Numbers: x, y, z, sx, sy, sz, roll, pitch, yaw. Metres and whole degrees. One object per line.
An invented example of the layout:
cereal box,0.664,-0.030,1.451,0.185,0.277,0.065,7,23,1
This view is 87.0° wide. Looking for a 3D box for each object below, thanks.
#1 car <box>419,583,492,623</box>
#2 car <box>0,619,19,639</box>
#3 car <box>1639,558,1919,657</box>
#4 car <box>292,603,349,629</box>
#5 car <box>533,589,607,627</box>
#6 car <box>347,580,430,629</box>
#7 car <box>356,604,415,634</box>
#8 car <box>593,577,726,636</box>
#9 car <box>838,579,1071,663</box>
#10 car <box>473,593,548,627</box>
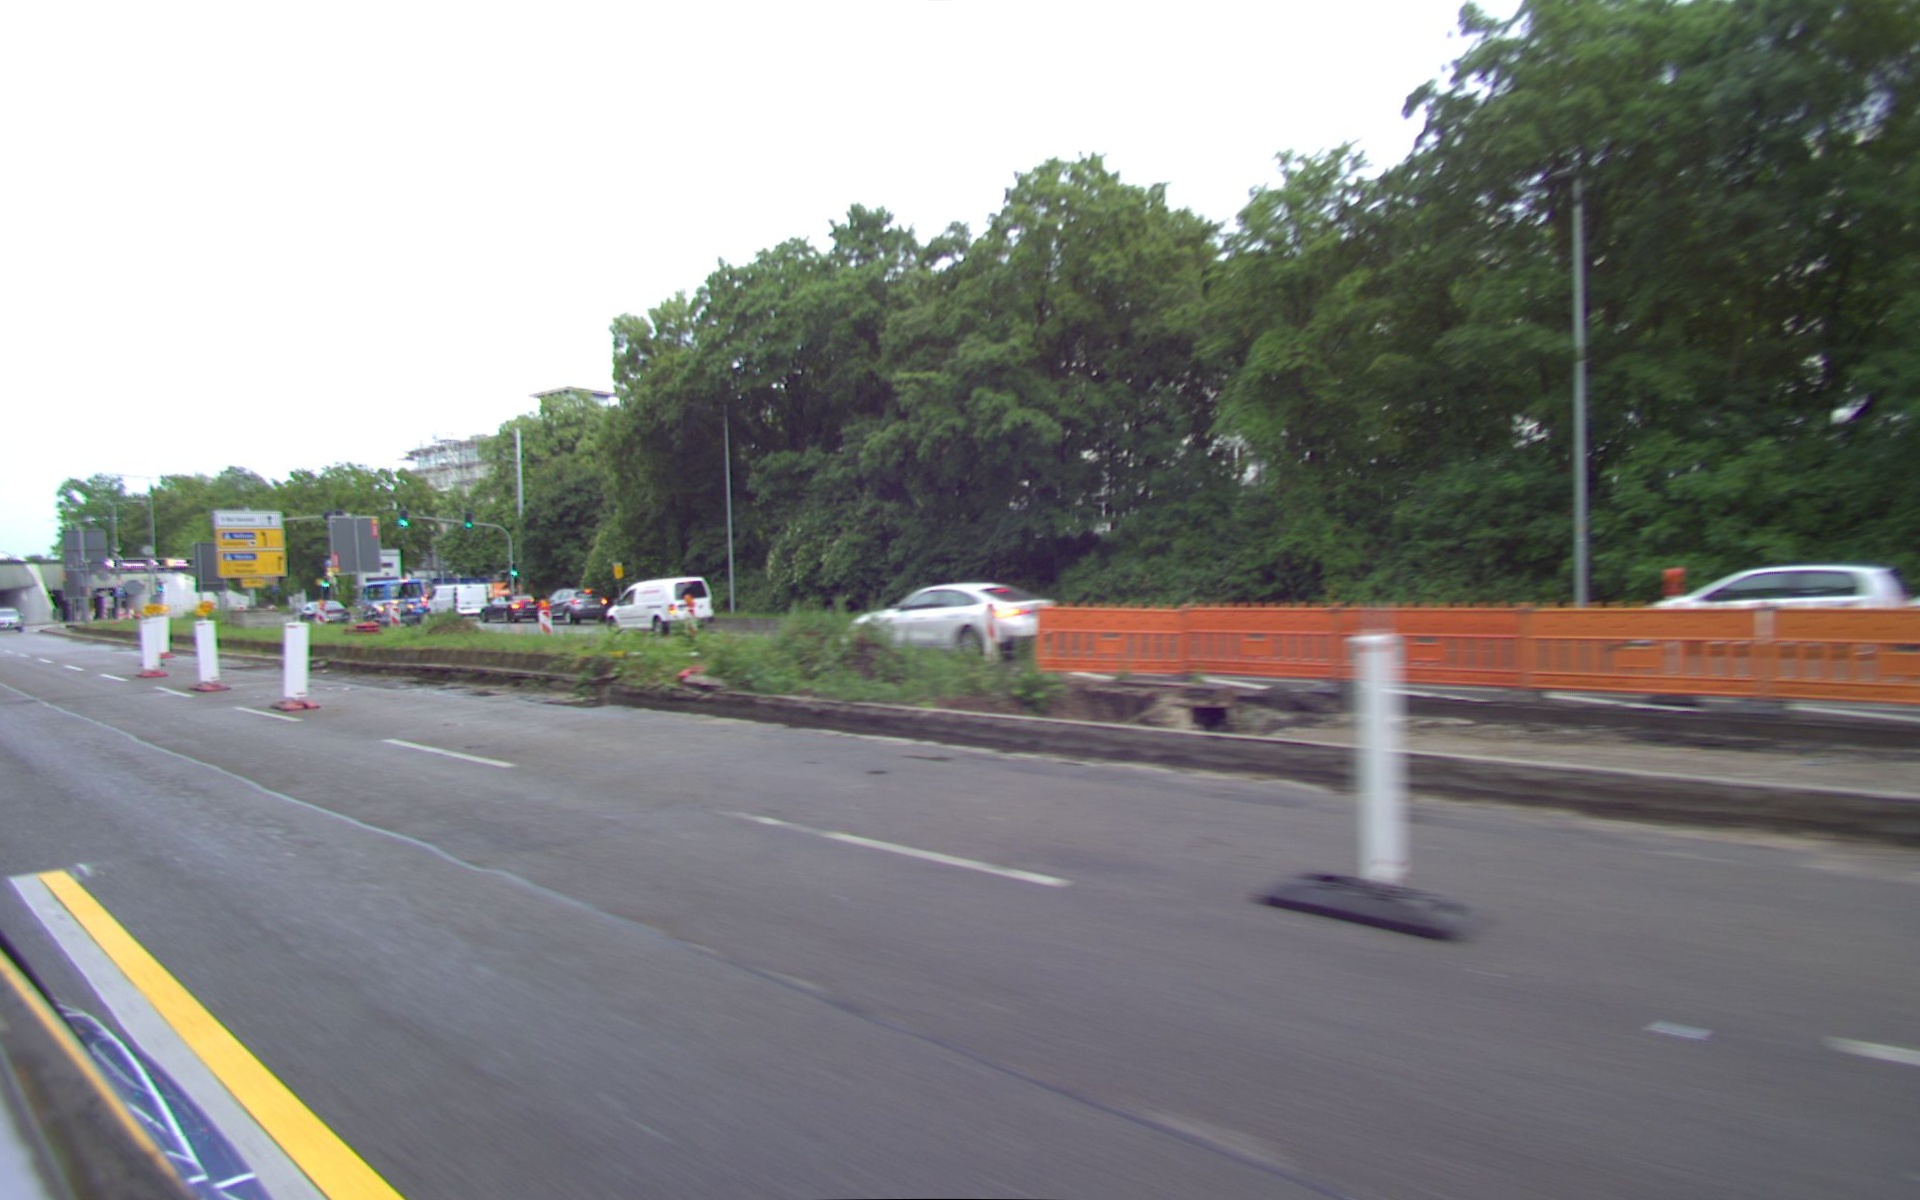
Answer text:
car,-28.167,0.167,56.427,4.992,1.989,2.012,-2,1,45
car,-63.882,1.932,67.098,3.822,1.317,1.676,-1,1,40
car,13.433,0.109,16.359,3.894,1.436,1.772,-1,1,41
car,-32.850,0.808,51.910,1.531,1.209,4.650,-4,2,-44
car,-17.411,0.357,45.102,1.652,1.534,3.792,-4,2,-45
car,-30.897,0.275,54.623,6.246,2.408,2.171,-2,1,45
car,-25.381,0.822,44.659,1.413,1.209,3.302,-4,2,-45
car,-10.107,0.250,33.824,4.830,1.794,1.895,-2,1,41
car,-0.208,0.401,20.548,4.677,1.497,1.836,-1,1,42
car,-22.328,0.473,50.190,1.773,1.534,4.637,-4,2,-45
